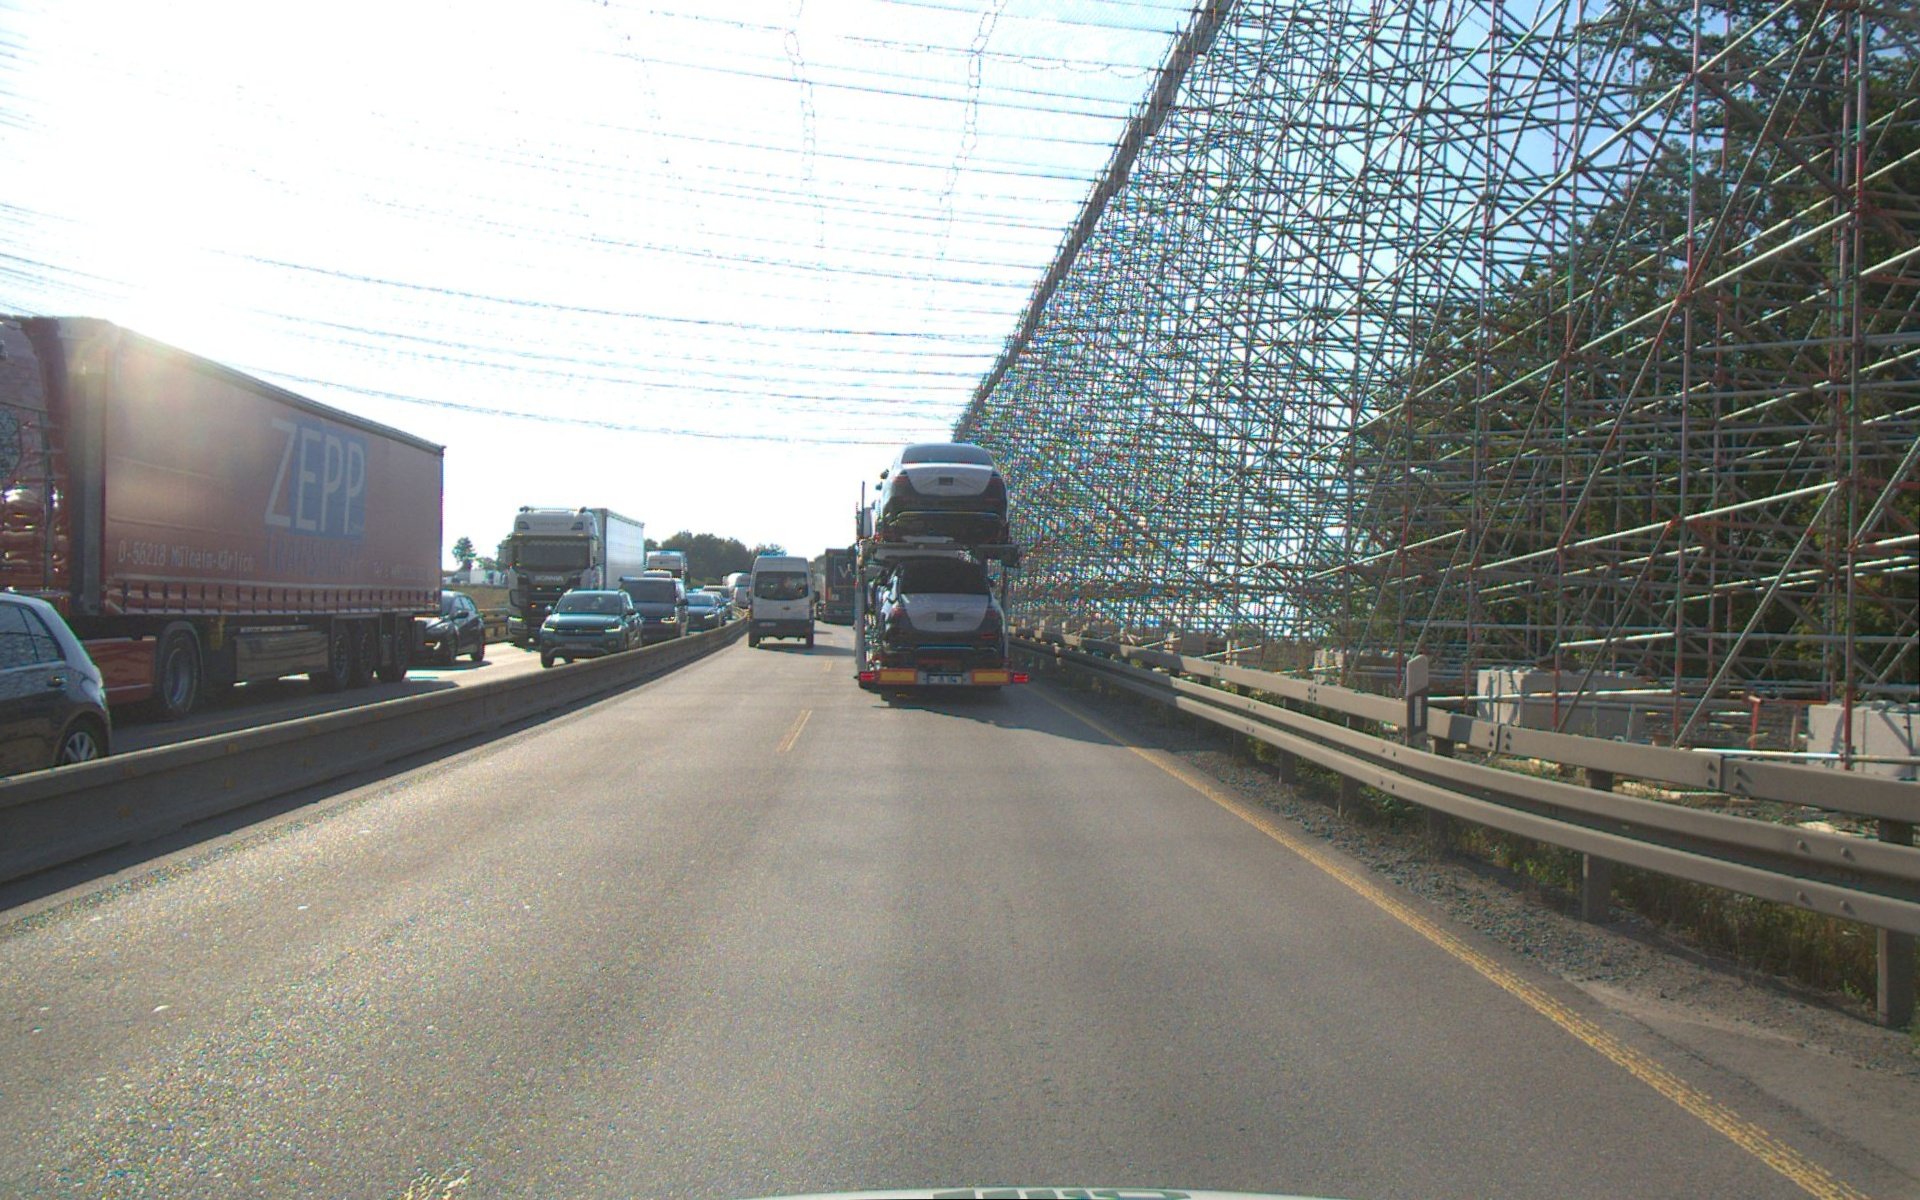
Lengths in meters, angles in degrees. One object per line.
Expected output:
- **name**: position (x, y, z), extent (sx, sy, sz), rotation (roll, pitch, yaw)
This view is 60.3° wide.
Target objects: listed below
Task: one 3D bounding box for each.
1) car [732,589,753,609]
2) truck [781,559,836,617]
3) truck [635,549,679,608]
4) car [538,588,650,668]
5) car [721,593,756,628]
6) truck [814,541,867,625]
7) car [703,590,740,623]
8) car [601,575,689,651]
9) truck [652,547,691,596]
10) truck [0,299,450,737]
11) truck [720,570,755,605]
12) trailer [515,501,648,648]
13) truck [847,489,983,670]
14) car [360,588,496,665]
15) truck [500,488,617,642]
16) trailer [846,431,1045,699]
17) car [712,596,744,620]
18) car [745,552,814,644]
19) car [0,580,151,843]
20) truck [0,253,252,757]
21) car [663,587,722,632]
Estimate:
- **car**: position (-18.315, -0.090, 139.172), extent (1.678, 1.646, 3.497), rotation (1, 0, -8)
- **truck**: position (-12.136, -0.905, 131.248), extent (3.618, 4.294, 13.644), rotation (-2, 0, -8)
- **truck**: position (-19.806, -1.376, 108.247), extent (2.548, 3.534, 12.362), rotation (2, 0, -10)
- **car**: position (-7.776, 0.557, 35.479), extent (1.708, 1.561, 4.263), rotation (2, 0, -4)
- **car**: position (-13.082, 0.598, 97.675), extent (1.801, 1.926, 3.996), rotation (2, 0, -5)
- **truck**: position (-6.971, -0.960, 95.192), extent (2.679, 4.462, 11.508), rotation (2, 0, -5)
- **car**: position (-12.368, 0.326, 85.892), extent (1.662, 1.657, 3.996), rotation (2, 0, -5)
- **car**: position (-8.758, 0.342, 46.405), extent (1.838, 1.969, 4.857), rotation (2, 0, -4)
- **truck**: position (-22.759, -2.179, 130.136), extent (2.549, 3.534, 12.355), rotation (2, 0, -12)
- **truck**: position (-10.068, -0.759, 22.773), extent (2.732, 4.214, 13.795), rotation (1, 0, -4)
- **truck**: position (-24.678, -1.387, 183.111), extent (2.573, 3.788, 9.621), rotation (2, 0, -15)
- **trailer**: position (-12.644, -0.794, 56.532), extent (2.602, 4.307, 13.902), rotation (2, 0, -6)
- **truck**: position (-1.172, -0.401, 38.446), extent (2.825, 3.767, 7.319), rotation (1, 0, -4)
- **car**: position (-11.089, 0.524, 34.757), extent (1.687, 1.473, 4.135), rotation (2, 0, -3)
- **truck**: position (-11.902, -0.971, 49.492), extent (2.611, 4.304, 6.095), rotation (1, 0, -7)
- **trailer**: position (-0.660, -0.441, 31.017), extent (2.812, 3.790, 14.935), rotation (1, 0, -4)
- **car**: position (-15.533, 0.516, 110.713), extent (1.804, 1.479, 3.988), rotation (2, 0, -12)
- **car**: position (-5.462, -0.029, 49.696), extent (1.920, 2.667, 3.992), rotation (0, -1, -8)
- **car**: position (-6.263, 0.618, 8.972), extent (1.617, 1.489, 4.399), rotation (2, 0, -1)
- **truck**: position (-9.591, -0.789, 16.291), extent (2.732, 4.214, 6.673), rotation (1, 0, -4)
- **car**: position (-9.887, 0.330, 61.324), extent (1.750, 1.528, 4.749), rotation (2, 0, -5)
